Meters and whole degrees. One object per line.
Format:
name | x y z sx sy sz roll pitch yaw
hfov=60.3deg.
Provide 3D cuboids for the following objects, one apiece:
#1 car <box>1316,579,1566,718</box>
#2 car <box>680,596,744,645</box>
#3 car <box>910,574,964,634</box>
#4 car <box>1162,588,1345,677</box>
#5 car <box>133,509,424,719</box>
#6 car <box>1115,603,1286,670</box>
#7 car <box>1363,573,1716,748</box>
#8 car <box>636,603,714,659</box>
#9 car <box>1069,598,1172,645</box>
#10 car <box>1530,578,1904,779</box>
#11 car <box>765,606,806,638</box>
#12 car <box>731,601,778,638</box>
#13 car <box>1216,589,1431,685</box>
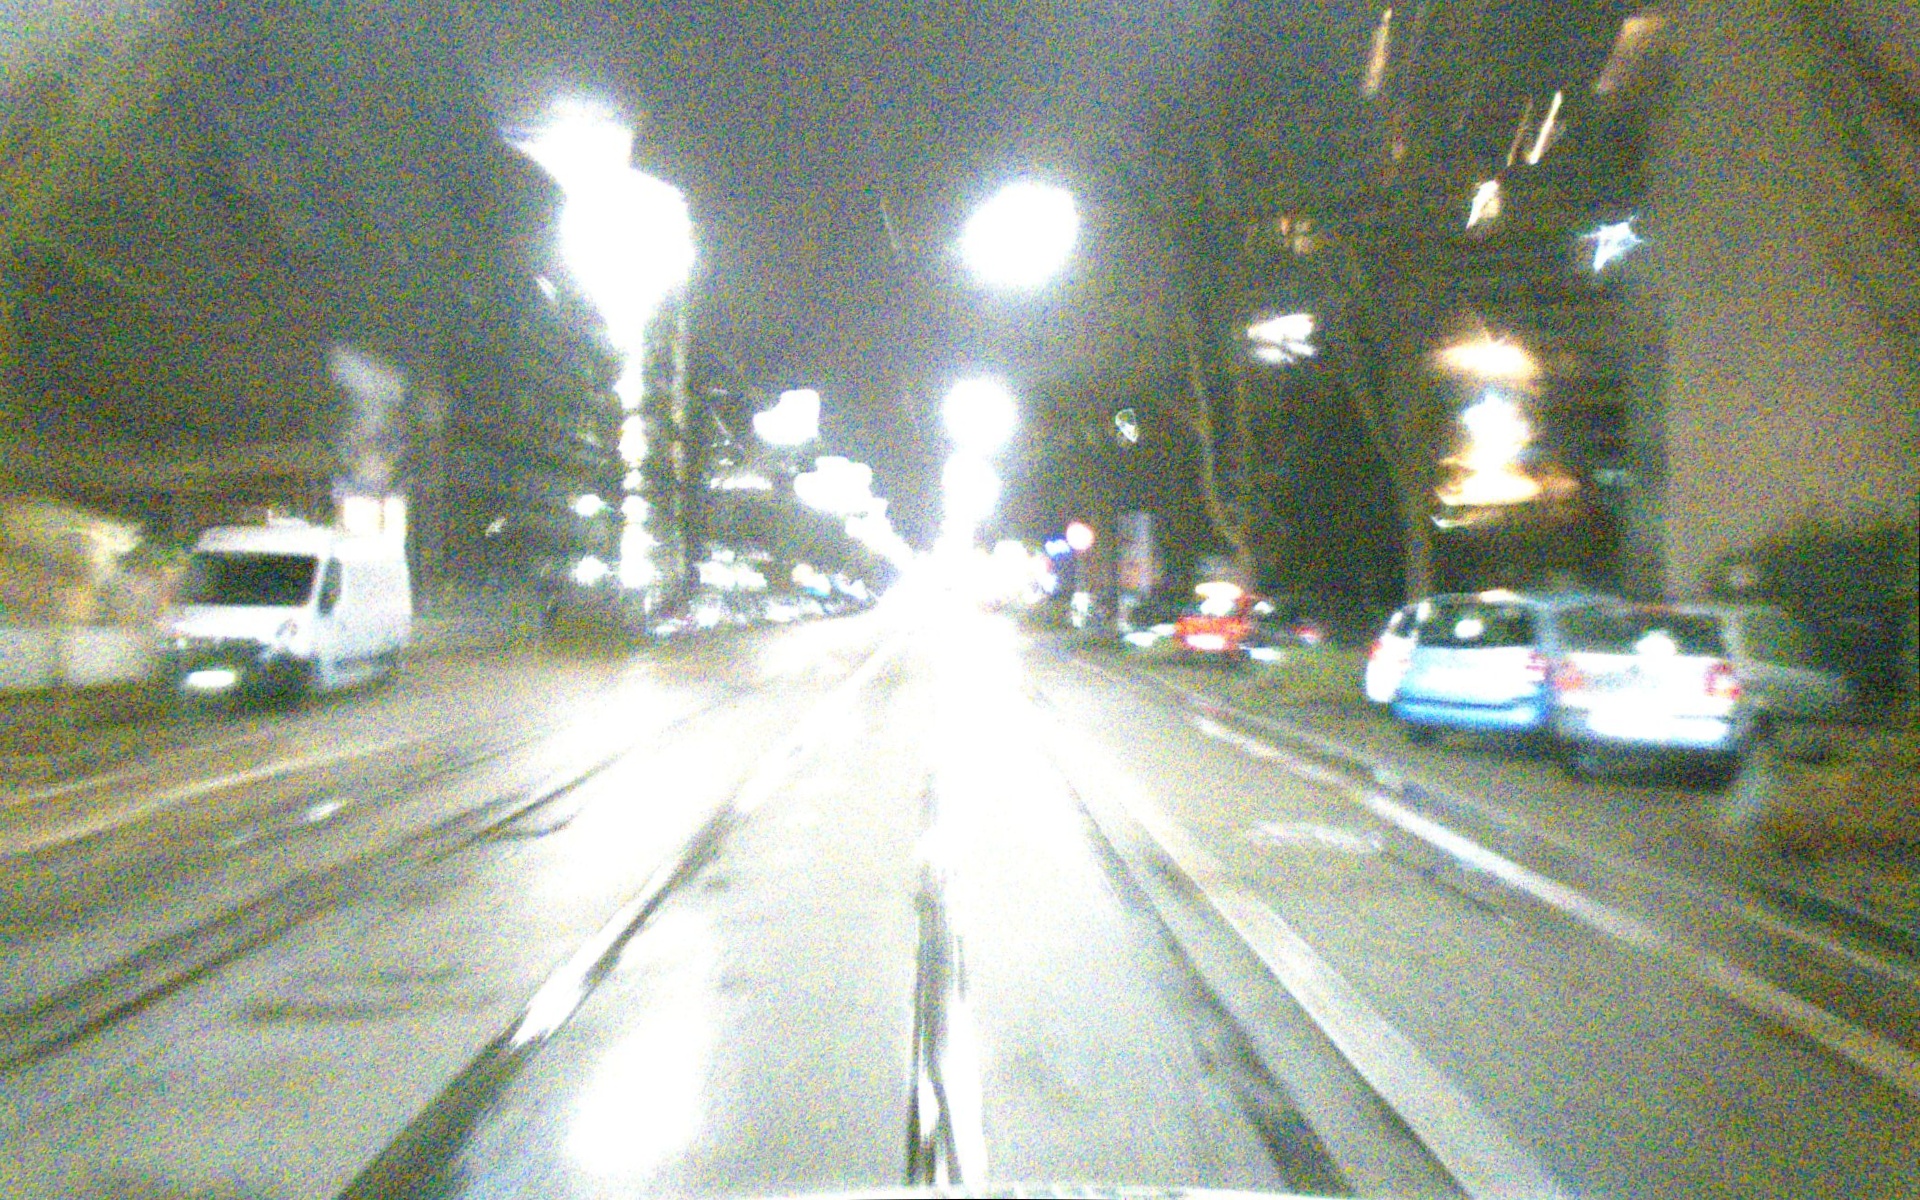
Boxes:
car | 6.258 0.595 21.293 1.672 1.560 3.732 3 1 40
car | -9.846 0.812 66.015 1.959 1.816 3.999 2 -1 -1
car | -1.067 0.167 72.765 2.172 2.484 5.381 1 0 -3
car | 6.001 0.653 33.570 2.018 1.652 3.807 1 0 40
car | -9.384 0.157 23.379 1.985 2.542 5.604 2 0 -3
car | 5.804 0.867 39.588 1.919 1.480 4.218 1 0 45
car | 5.958 0.549 16.813 3.856 1.560 1.793 1 0 -43
car | -9.861 1.050 57.597 2.066 1.795 4.962 2 -1 -3
car | 5.787 0.770 59.246 1.874 1.600 3.945 1 0 37
car | 6.588 0.607 14.199 1.790 1.458 3.830 1 0 43
car | -10.222 1.280 97.120 1.982 1.791 3.999 2 -1 -1
car | -10.617 0.998 85.707 1.982 1.791 3.999 2 -1 -1
car | 6.049 0.587 27.337 3.797 1.455 1.612 1 0 -43
